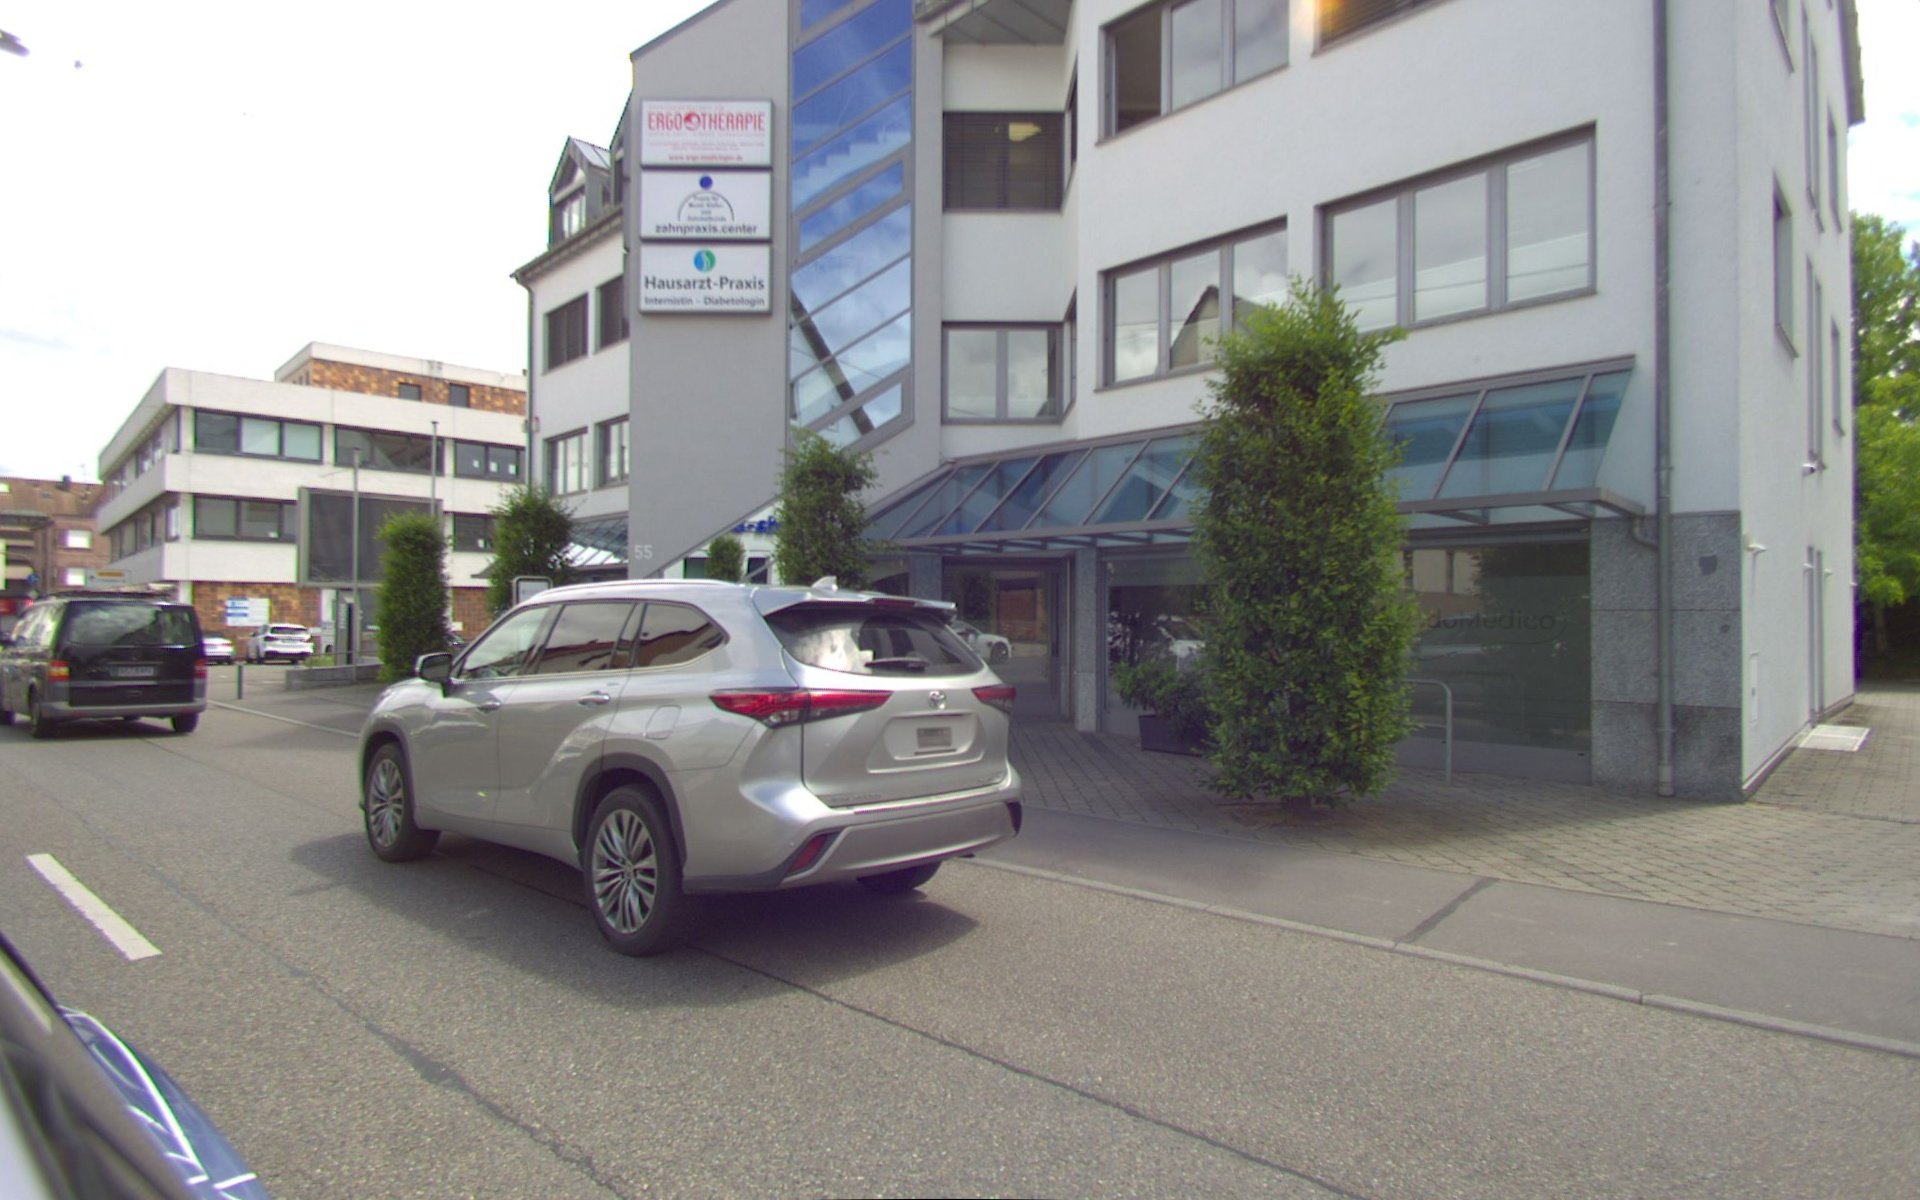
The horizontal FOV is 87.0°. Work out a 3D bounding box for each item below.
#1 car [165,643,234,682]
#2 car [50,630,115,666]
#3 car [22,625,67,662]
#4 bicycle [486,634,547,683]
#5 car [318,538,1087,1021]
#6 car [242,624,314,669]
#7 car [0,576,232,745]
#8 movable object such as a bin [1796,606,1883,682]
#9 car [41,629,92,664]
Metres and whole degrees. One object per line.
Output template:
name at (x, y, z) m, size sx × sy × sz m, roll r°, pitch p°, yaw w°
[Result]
car at (-30.015, 2.409, 39.887) m, size 1.798 × 1.338 × 4.241 m, roll 0°, pitch -1°, yaw -42°
car at (-38.297, 2.068, 44.135) m, size 4.220 × 1.437 × 1.815 m, roll -1°, pitch -1°, yaw 45°
car at (-47.159, 2.201, 52.155) m, size 1.677 × 1.790 × 4.466 m, roll 0°, pitch -1°, yaw -42°
bicycle at (-10.981, 1.431, 25.041) m, size 1.684 × 1.150 × 0.636 m, roll -1°, pitch -1°, yaw 37°
car at (-1.811, 0.745, 6.011) m, size 4.792 × 1.751 × 1.966 m, roll -1°, pitch -4°, yaw 40°
car at (-27.772, 1.859, 41.180) m, size 1.870 × 1.710 × 3.805 m, roll 4°, pitch -3°, yaw -42°
car at (-13.062, 0.865, 15.336) m, size 4.878 × 2.168 × 2.090 m, roll -2°, pitch -3°, yaw 40°
movable object such as a bin at (20.884, 1.018, 24.078) m, size 1.507 × 1.744 × 1.073 m, roll -1°, pitch -1°, yaw 40°
car at (-43.045, 2.188, 48.741) m, size 1.783 × 1.541 × 4.005 m, roll 0°, pitch -1°, yaw -42°
